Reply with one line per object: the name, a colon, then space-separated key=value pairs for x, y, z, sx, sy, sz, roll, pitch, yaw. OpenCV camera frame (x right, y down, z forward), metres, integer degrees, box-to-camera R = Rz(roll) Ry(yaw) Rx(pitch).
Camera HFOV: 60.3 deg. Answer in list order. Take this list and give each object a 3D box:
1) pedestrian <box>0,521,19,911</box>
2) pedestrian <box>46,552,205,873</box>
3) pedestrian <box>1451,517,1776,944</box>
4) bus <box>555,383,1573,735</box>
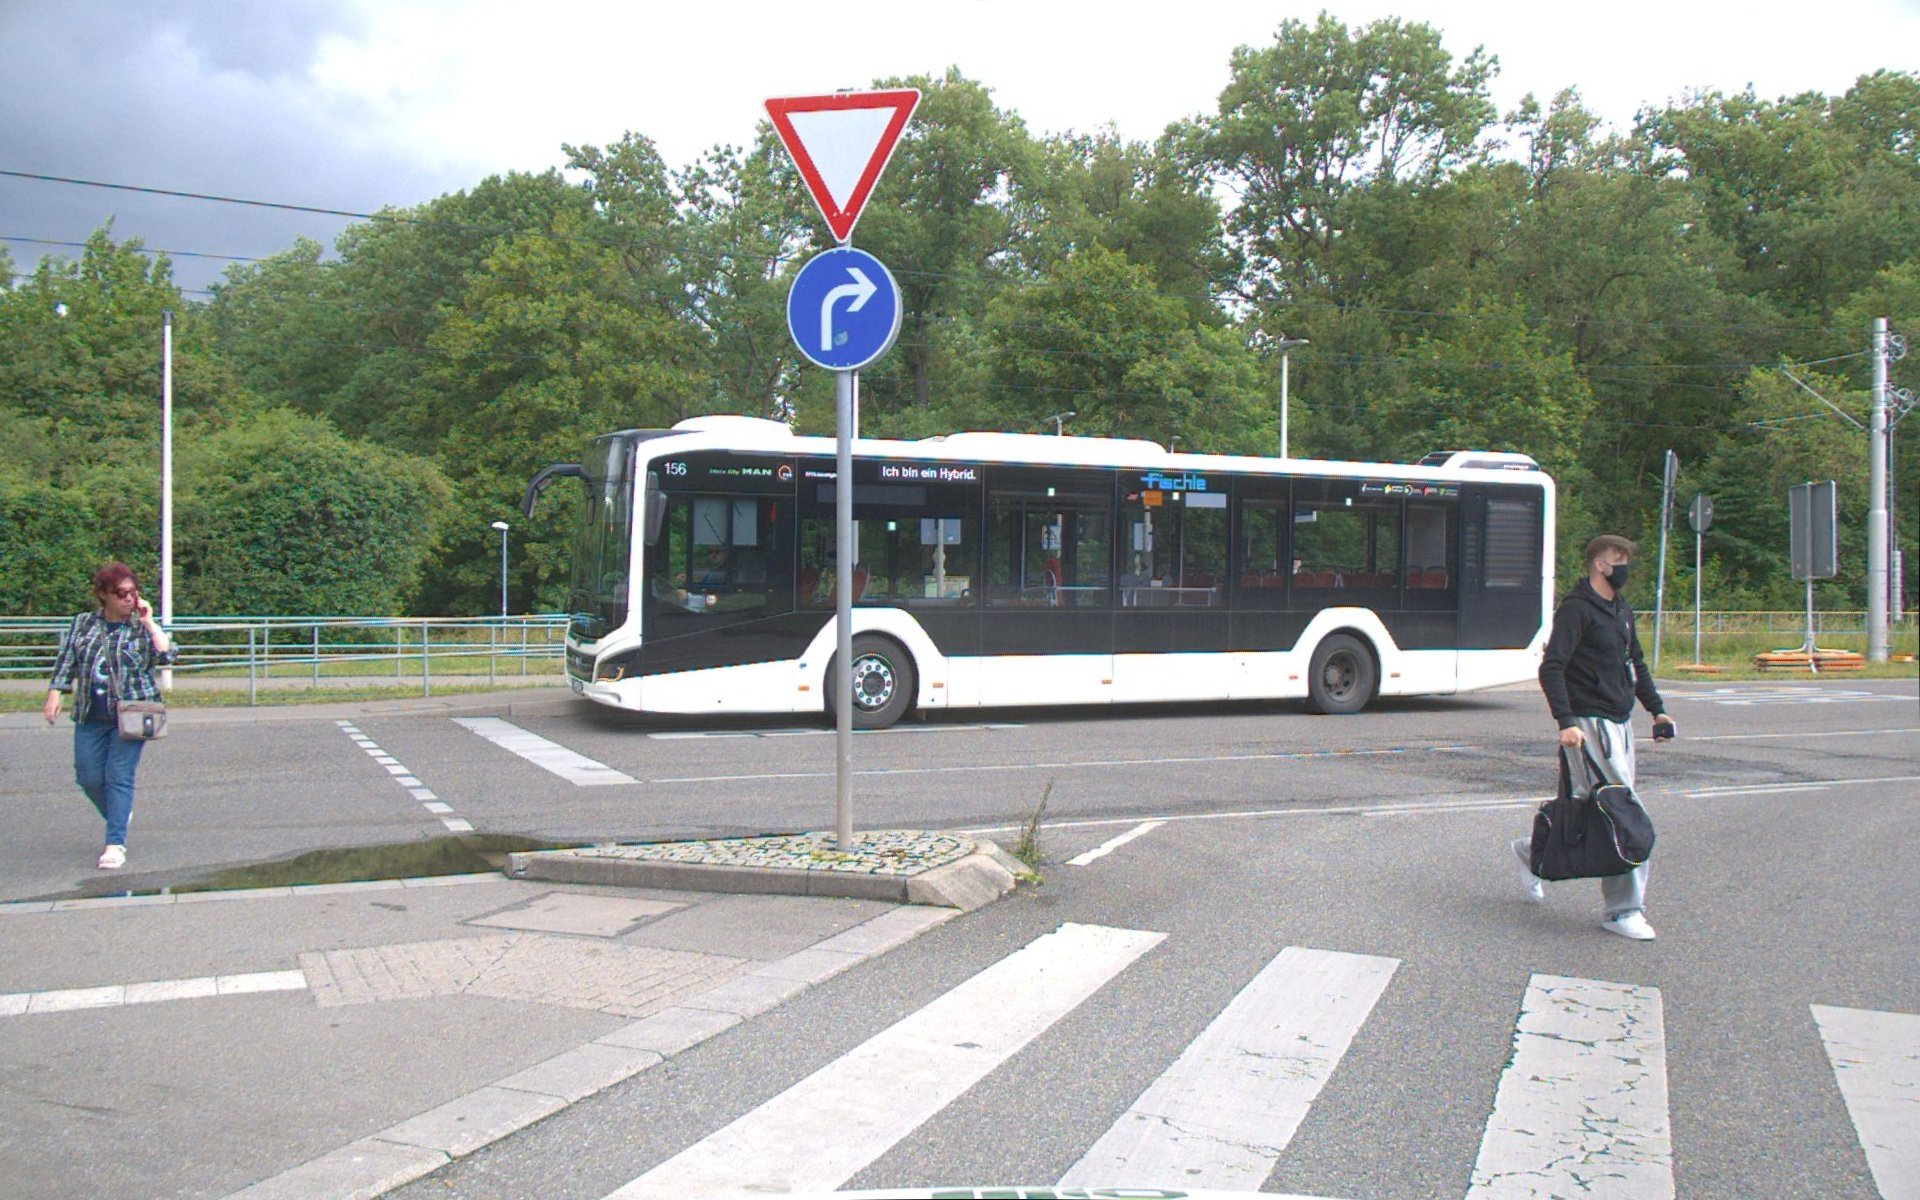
pedestrian: x=-4.540 y=0.513 z=7.178 sx=0.691 sy=1.662 sz=0.713 roll=-1 pitch=-2 yaw=-36
pedestrian: x=-4.355 y=0.560 z=8.678 sx=0.681 sy=1.594 sz=0.727 roll=1 pitch=0 yaw=-24
pedestrian: x=2.930 y=0.547 z=7.516 sx=0.938 sy=1.777 sz=1.058 roll=1 pitch=0 yaw=-13
bus: x=1.630 y=-0.364 z=19.108 sx=12.005 sy=3.259 sz=2.654 roll=0 pitch=0 yaw=-25
